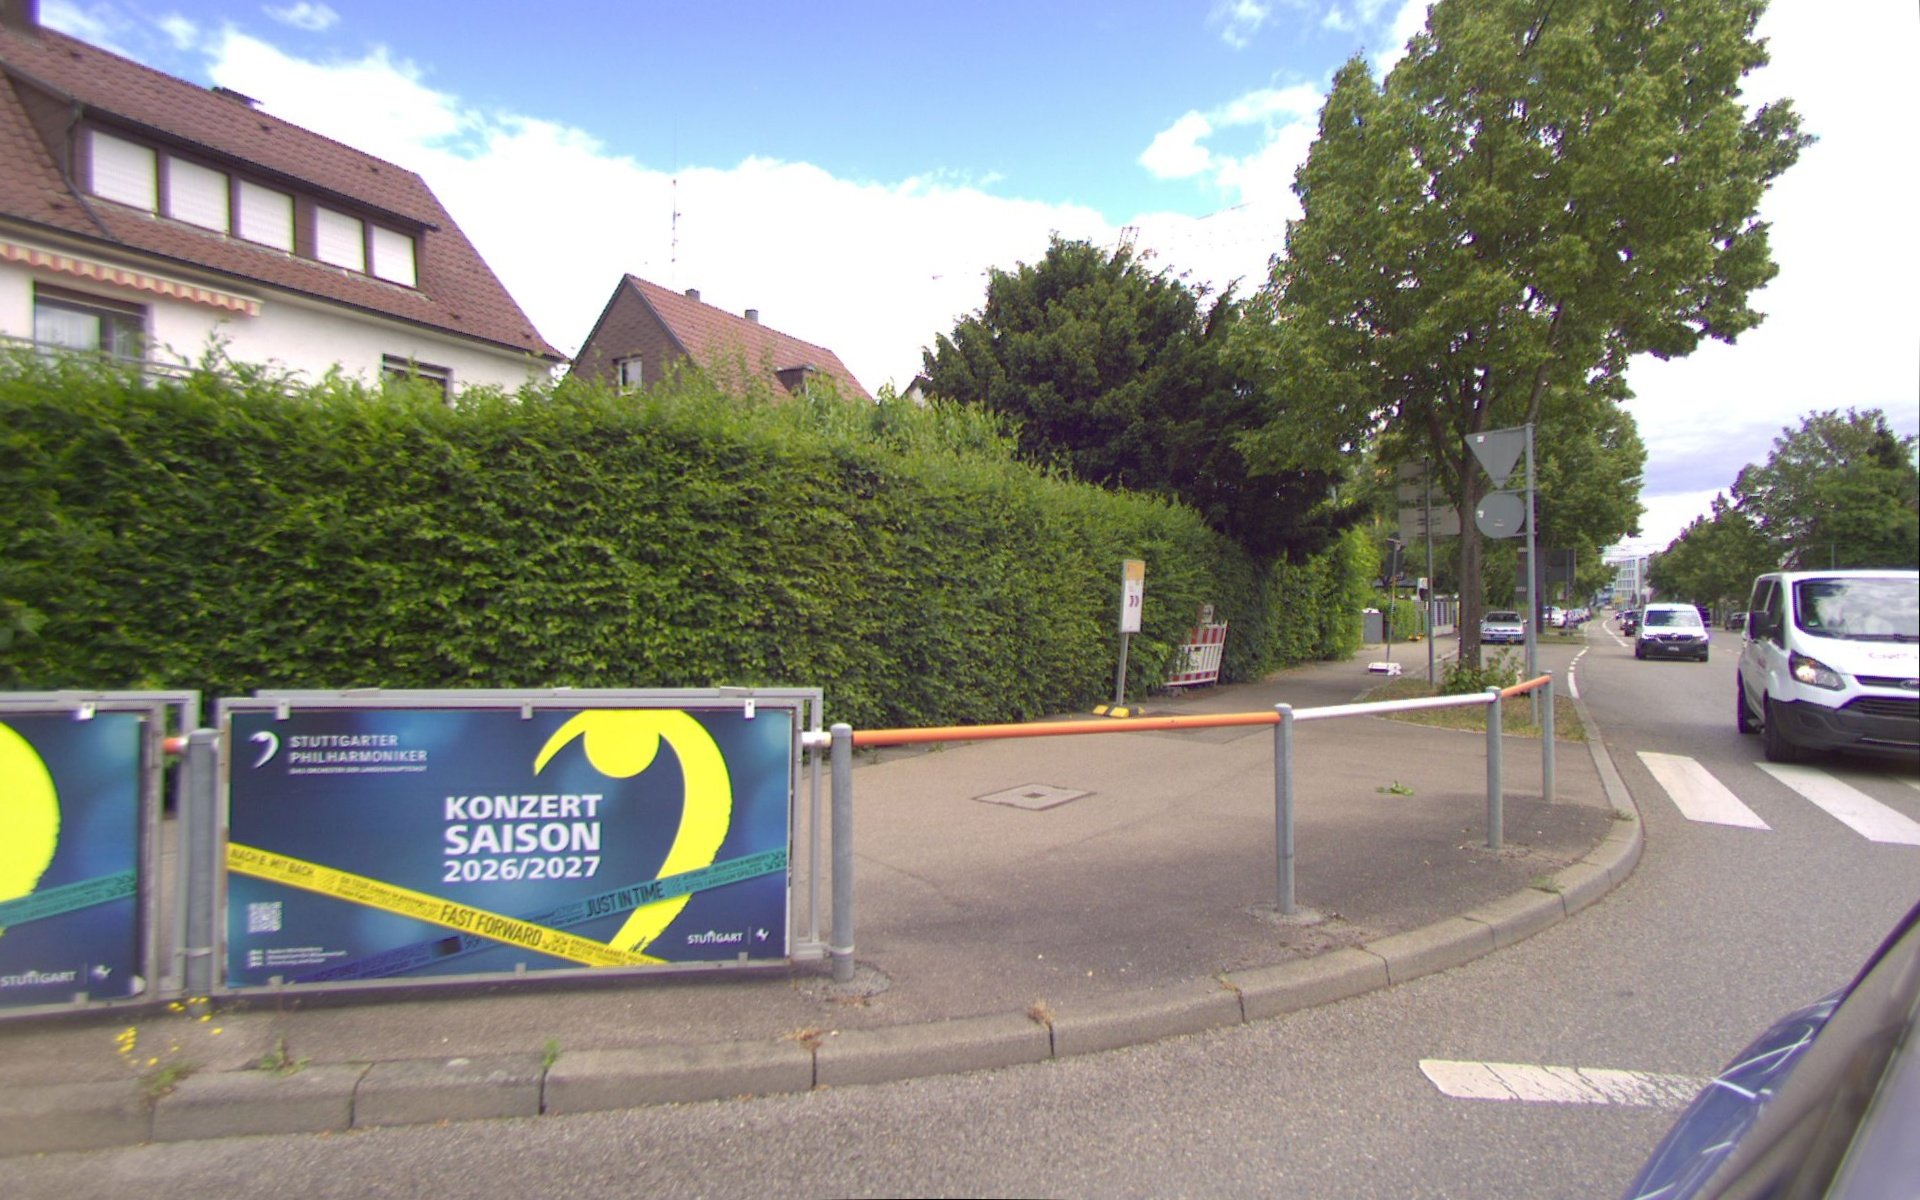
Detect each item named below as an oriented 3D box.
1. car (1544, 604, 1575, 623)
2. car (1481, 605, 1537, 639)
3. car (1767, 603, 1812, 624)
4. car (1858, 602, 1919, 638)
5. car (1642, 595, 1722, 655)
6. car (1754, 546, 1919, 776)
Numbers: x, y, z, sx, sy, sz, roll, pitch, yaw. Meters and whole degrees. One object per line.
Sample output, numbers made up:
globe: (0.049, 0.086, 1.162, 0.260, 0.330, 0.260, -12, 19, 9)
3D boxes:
car: (43.872, 0.958, 74.011, 1.799, 1.359, 3.953, 0, 0, 33)
car: (23.516, 0.921, 43.284, 1.799, 1.359, 3.953, 0, 0, 33)
car: (52.178, 0.815, 63.698, 1.591, 1.242, 3.162, 0, 0, 29)
car: (43.082, 0.905, 46.564, 1.746, 1.581, 3.710, 0, 0, 28)
car: (23.058, 0.740, 32.438, 1.914, 1.776, 3.952, 0, 0, 33)
car: (9.994, 0.545, 11.008, 1.988, 2.039, 4.983, 0, 0, 37)
